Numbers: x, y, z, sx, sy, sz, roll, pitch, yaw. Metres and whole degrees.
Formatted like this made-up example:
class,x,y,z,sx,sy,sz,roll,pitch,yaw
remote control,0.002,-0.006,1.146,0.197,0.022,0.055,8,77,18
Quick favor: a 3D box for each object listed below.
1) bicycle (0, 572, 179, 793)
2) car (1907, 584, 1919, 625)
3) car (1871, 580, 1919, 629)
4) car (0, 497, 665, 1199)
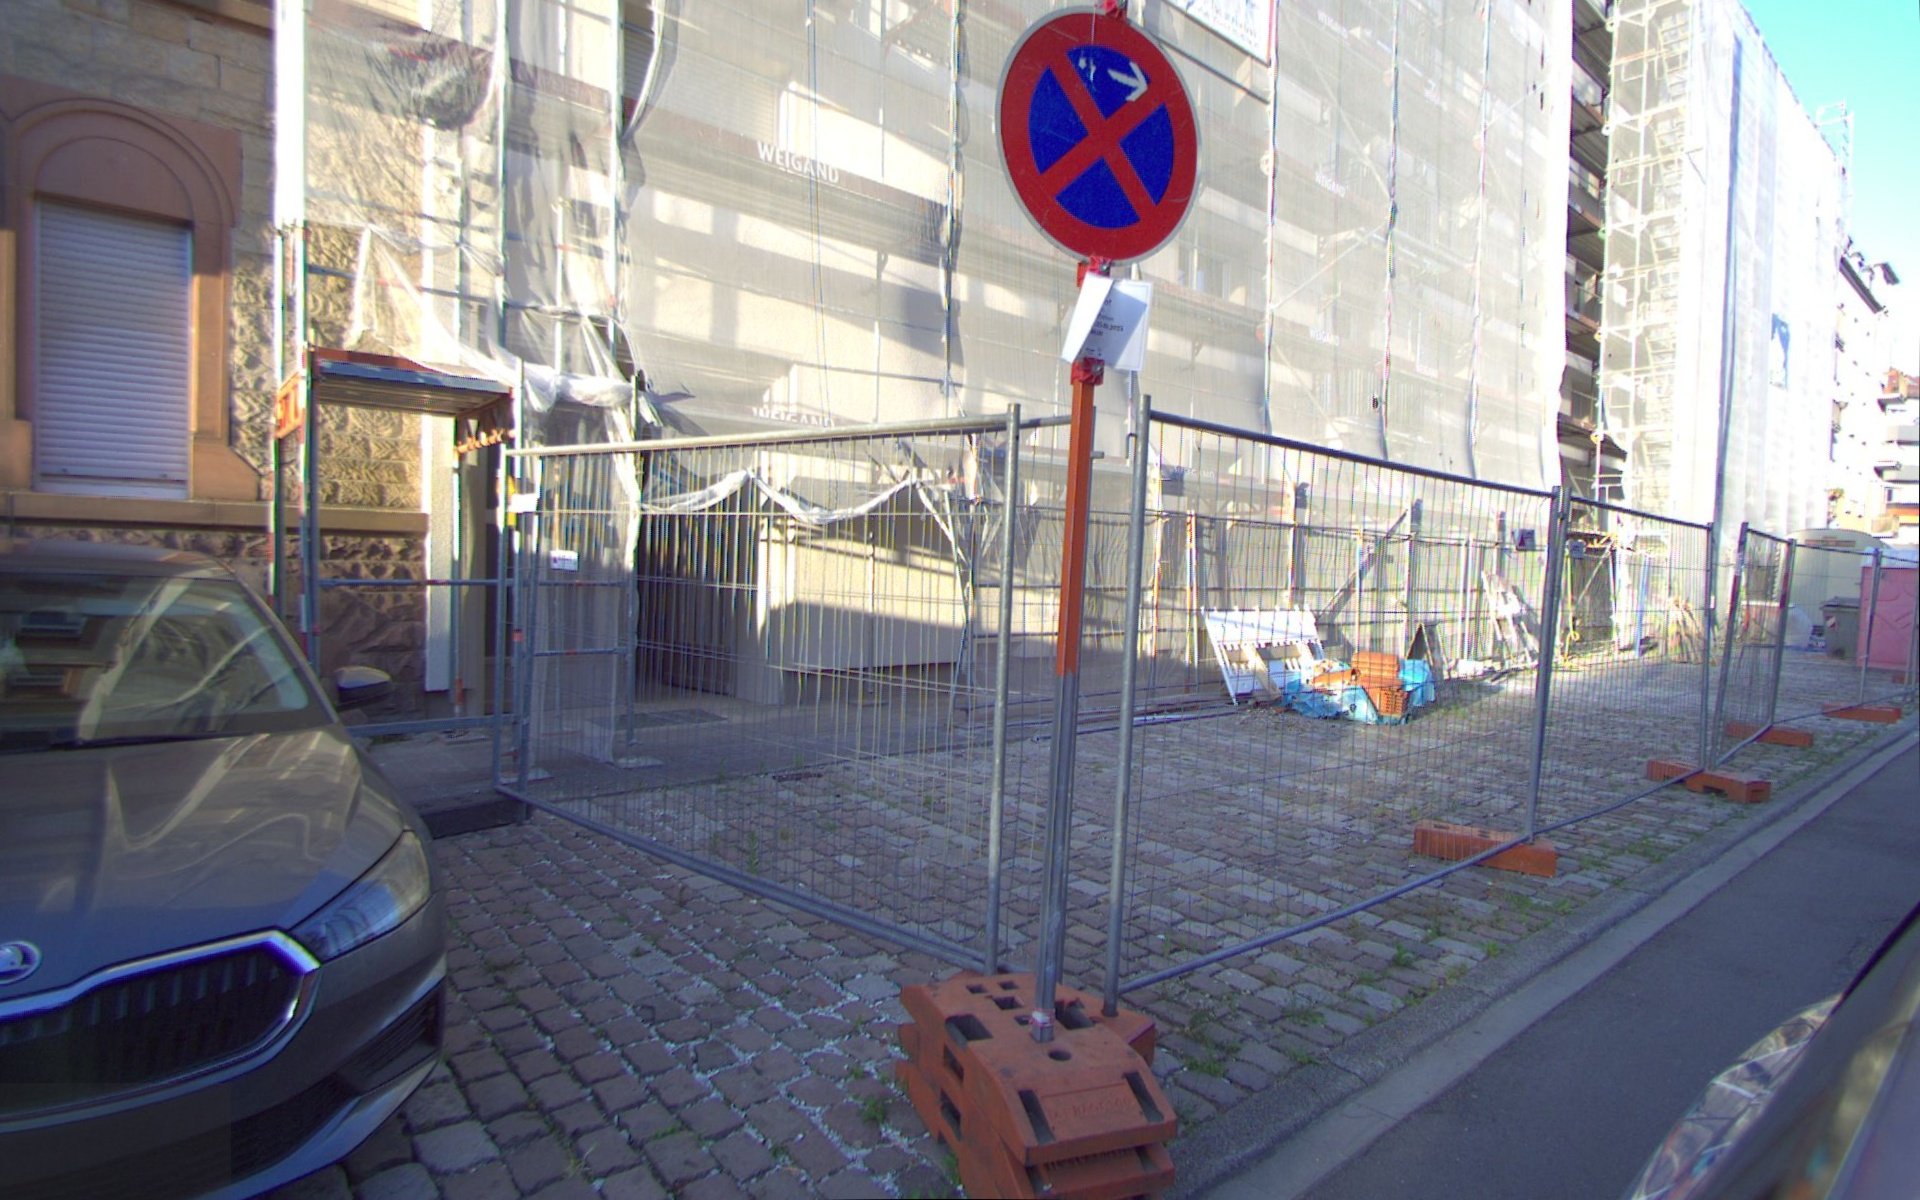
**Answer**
class,x,y,z,sx,sy,sz,roll,pitch,yaw
bicycle,-5.533,0.439,5.477,0.630,1.183,2.003,1,1,43
car,40.977,0.232,40.773,1.871,1.658,3.992,0,2,-43
car,33.722,0.194,34.144,1.838,1.635,4.164,0,2,-39
car,-2.822,0.466,3.167,1.986,1.533,3.992,-1,5,-44
